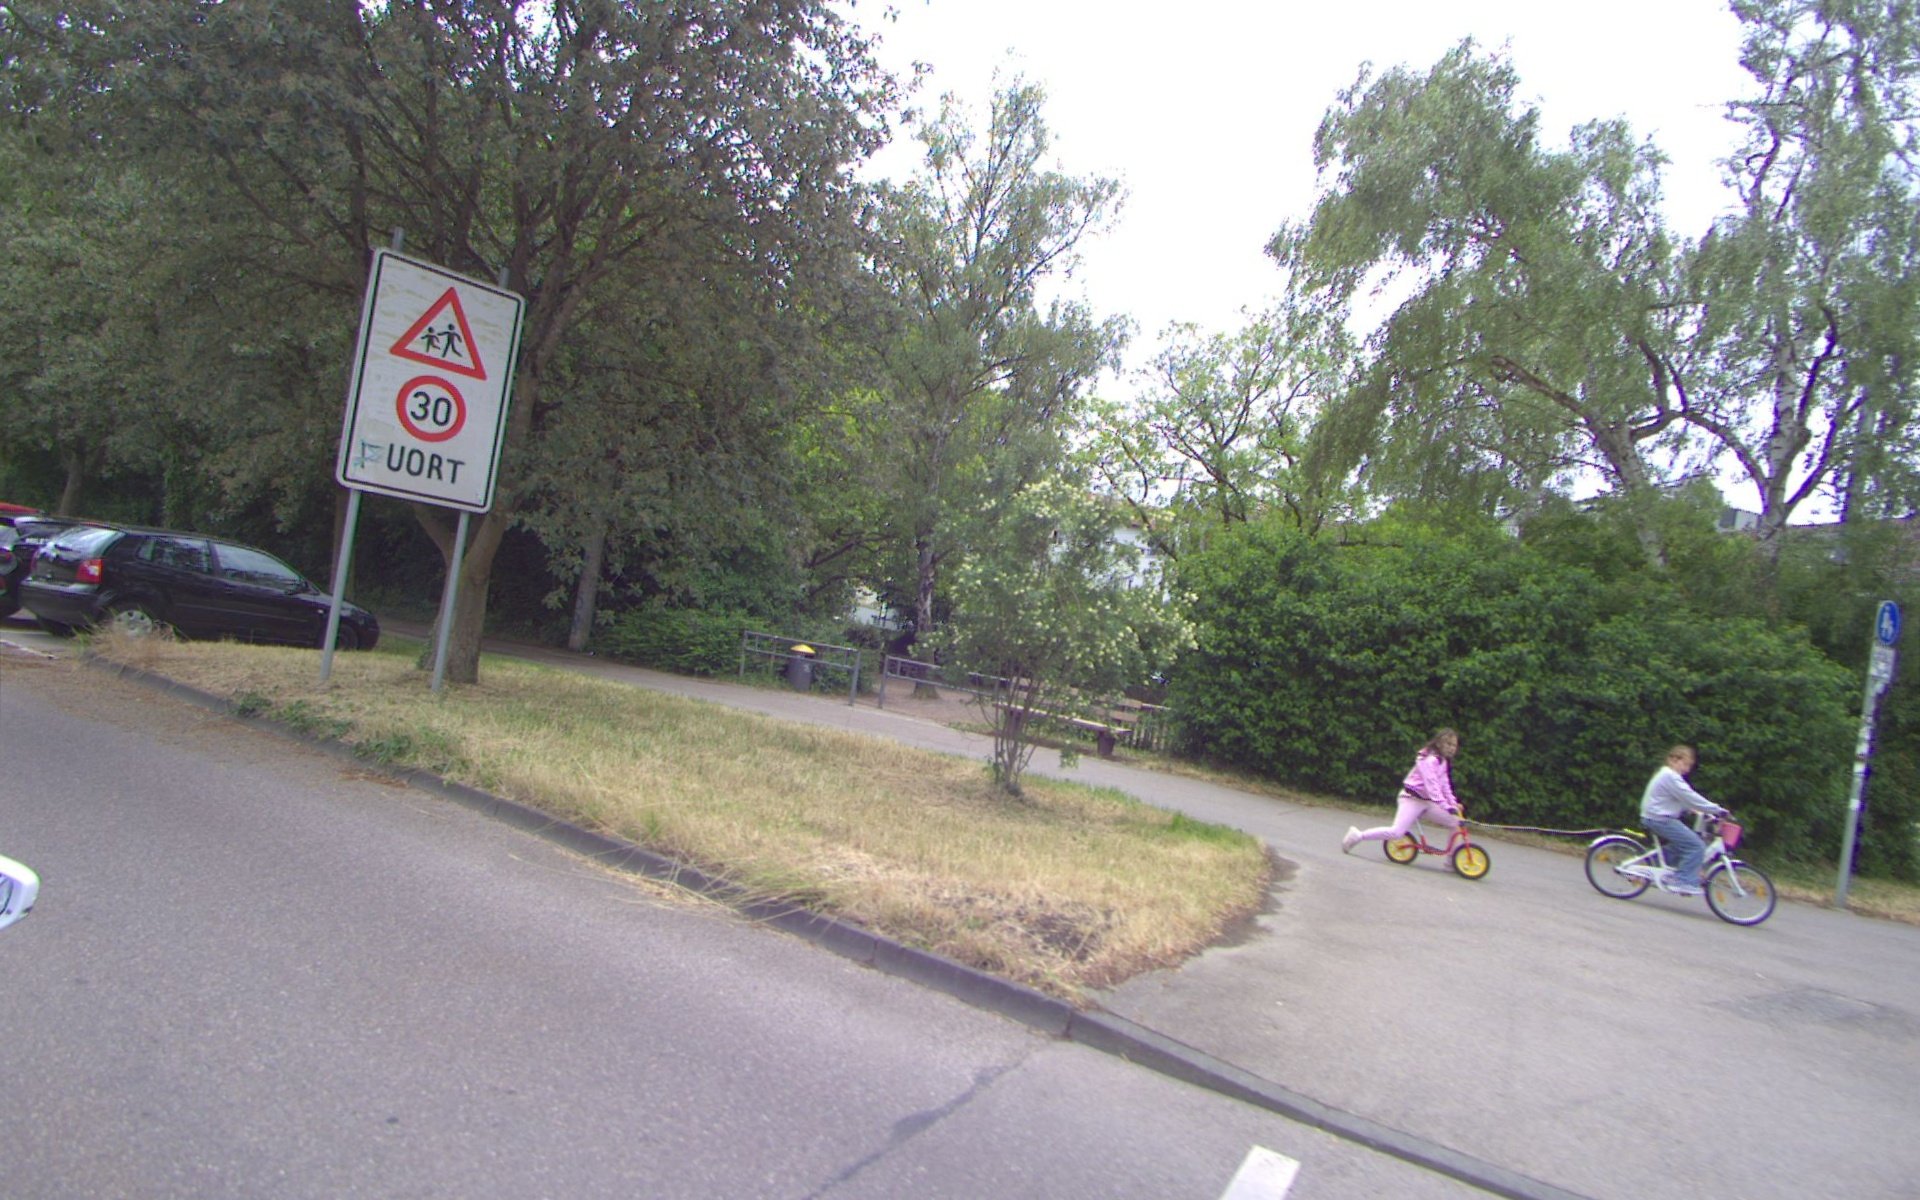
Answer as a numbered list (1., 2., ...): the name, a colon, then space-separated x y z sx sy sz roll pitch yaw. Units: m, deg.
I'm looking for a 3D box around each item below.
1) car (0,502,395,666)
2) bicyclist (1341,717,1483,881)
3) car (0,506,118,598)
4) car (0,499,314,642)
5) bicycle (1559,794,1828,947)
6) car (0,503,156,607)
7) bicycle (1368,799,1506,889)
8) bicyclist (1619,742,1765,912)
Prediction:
1. car: -9.661 -0.100 13.038 1.548 1.492 3.730 8 -3 25
2. bicyclist: 3.882 1.676 8.648 0.951 1.200 0.519 6 -2 31
3. car: -18.211 -1.074 18.195 1.604 1.480 4.239 8 -3 19
4. car: -11.620 -0.360 14.106 1.546 1.492 4.155 8 -3 17
5. bicycle: 5.934 2.170 8.265 1.653 0.767 0.641 7 -1 32
6. car: -16.097 -0.863 16.996 1.562 1.492 3.541 8 -3 15
7. bicycle: 4.034 2.041 8.517 0.972 0.503 0.519 6 -2 31
8. bicyclist: 5.979 1.826 8.268 0.790 1.175 0.641 8 -1 31
